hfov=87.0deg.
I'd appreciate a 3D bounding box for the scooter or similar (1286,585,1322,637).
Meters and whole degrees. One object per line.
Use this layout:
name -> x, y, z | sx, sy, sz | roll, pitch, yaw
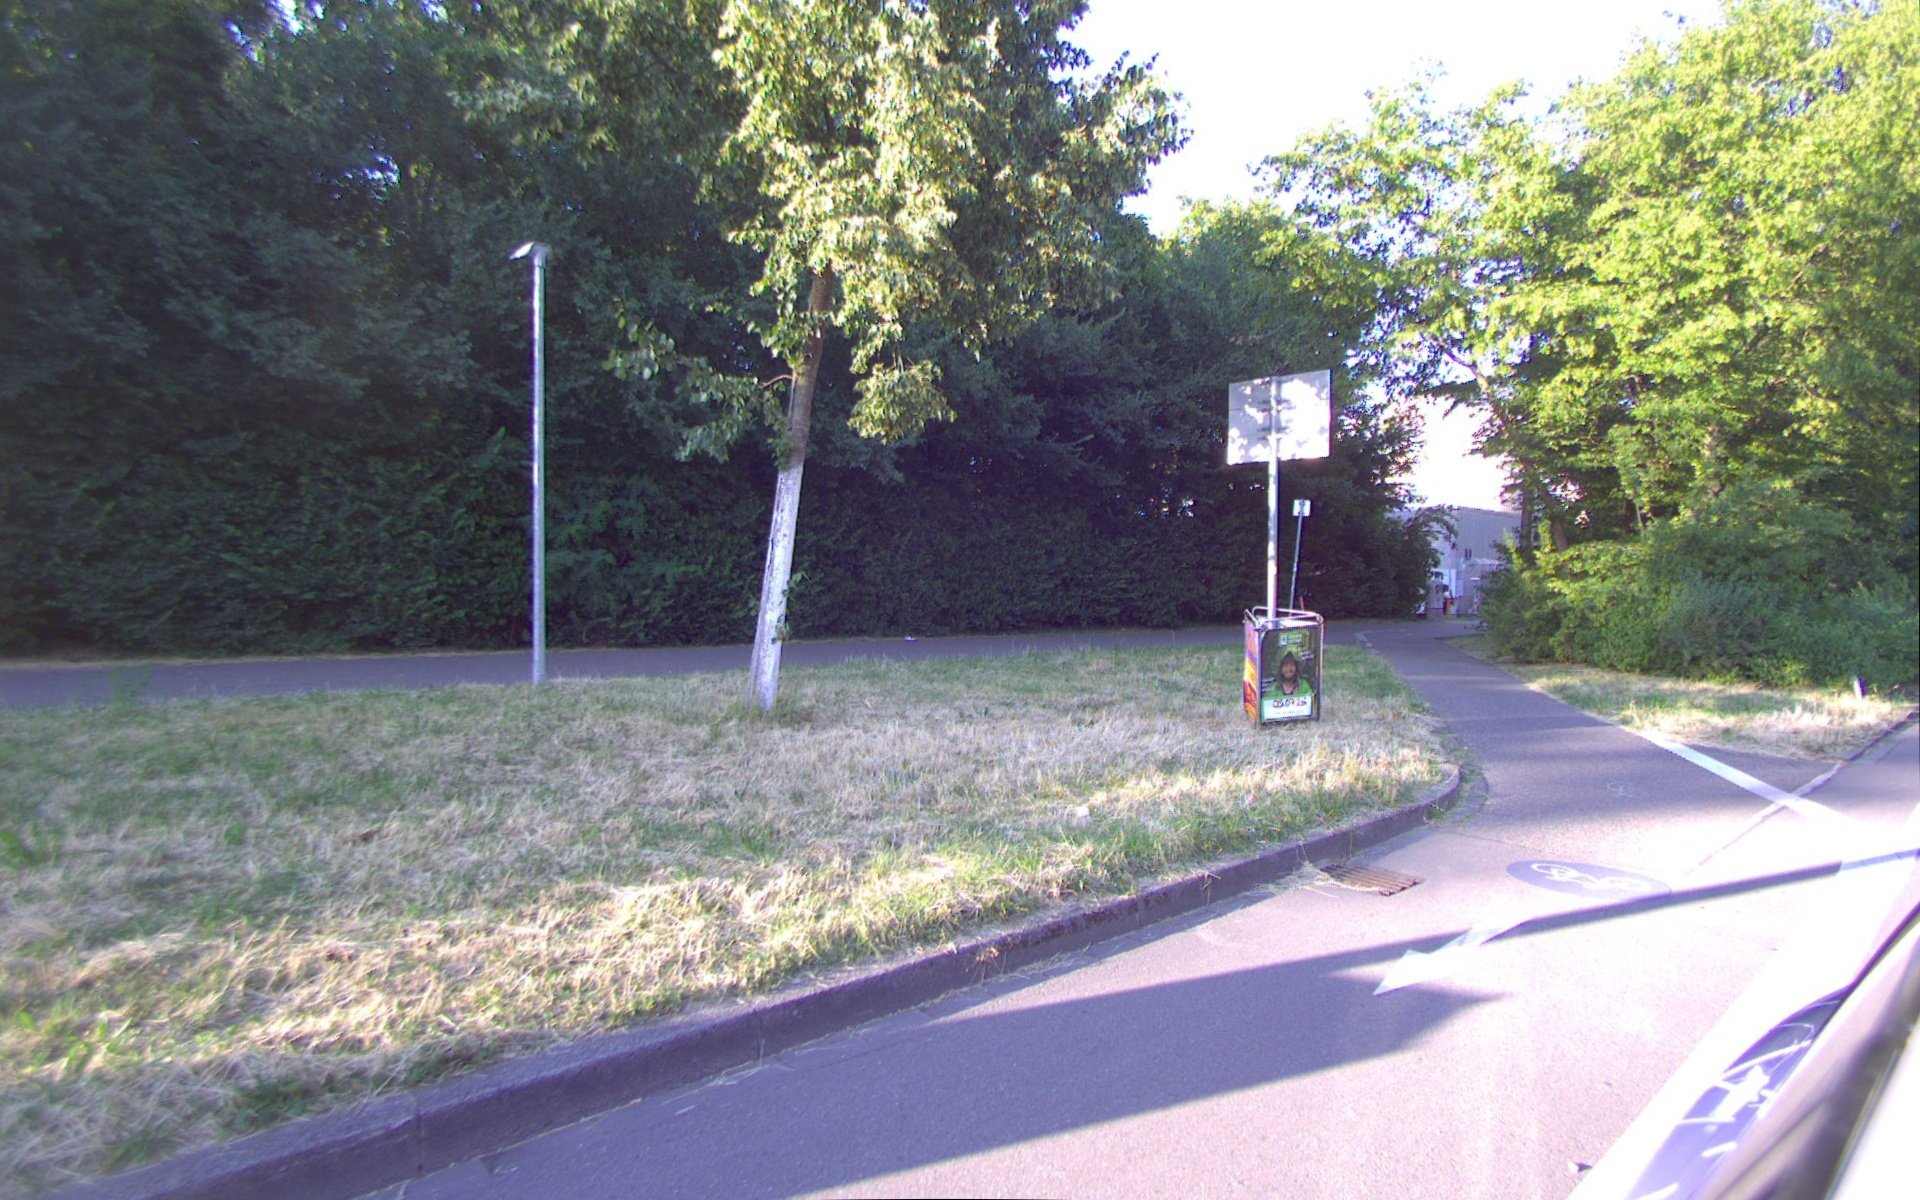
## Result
scooter or similar -> 7.349, 0.230, 21.613 | 0.819, 1.100, 0.194 | 1, -1, -26
